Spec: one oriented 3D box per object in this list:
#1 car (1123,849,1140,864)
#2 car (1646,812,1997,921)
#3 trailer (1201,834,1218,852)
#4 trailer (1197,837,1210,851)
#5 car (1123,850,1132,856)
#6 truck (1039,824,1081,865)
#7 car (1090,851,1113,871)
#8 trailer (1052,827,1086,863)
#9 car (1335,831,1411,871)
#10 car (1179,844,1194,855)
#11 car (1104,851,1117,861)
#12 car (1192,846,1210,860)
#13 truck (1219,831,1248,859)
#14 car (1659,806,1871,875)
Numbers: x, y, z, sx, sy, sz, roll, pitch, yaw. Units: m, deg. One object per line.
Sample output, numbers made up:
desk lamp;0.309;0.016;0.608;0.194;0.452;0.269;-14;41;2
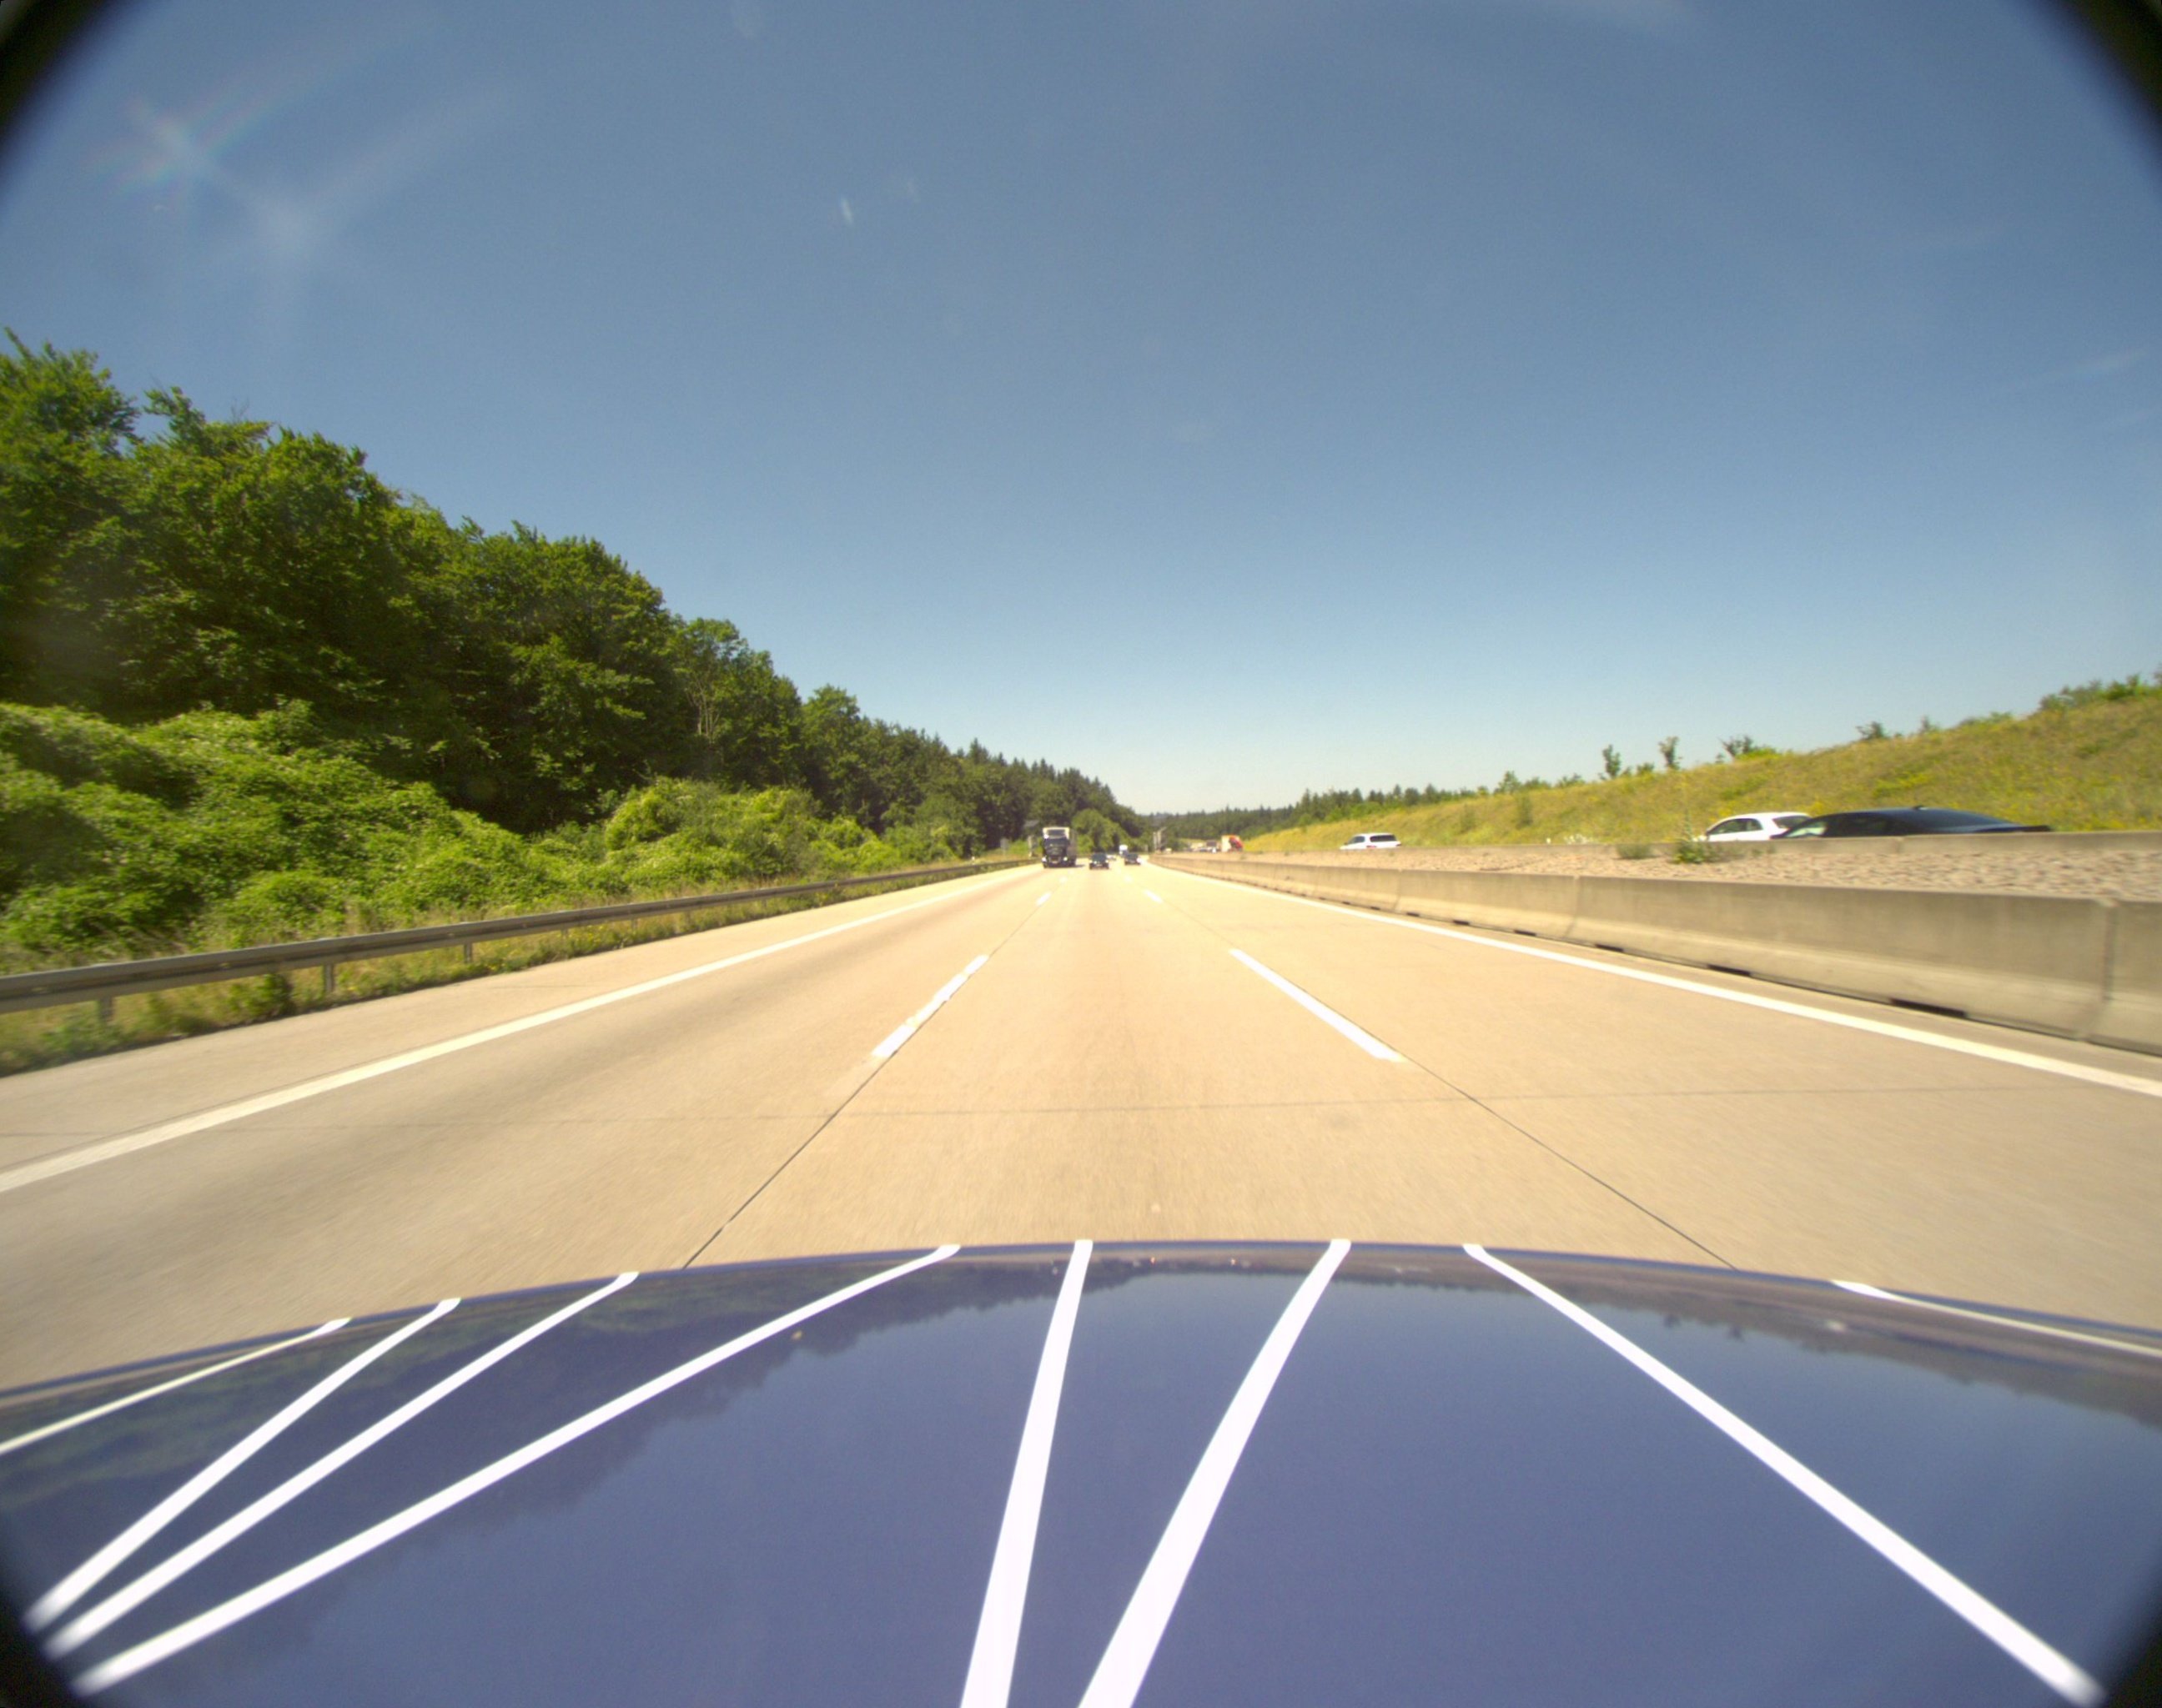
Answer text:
car;5.857;0.255;88.558;1.842;1.547;4.001;-3;0;3
car;12.844;0.178;13.708;1.998;1.574;4.463;-2;0;1
trailer;32.027;-2.650;190.213;2.940;4.144;13.192;-3;0;4
trailer;37.387;-3.075;232.036;2.939;4.144;14.393;-3;0;7
car;11.566;-0.283;189.397;1.841;1.547;4.002;-3;0;8
truck;-2.062;-0.979;79.475;3.166;3.993;10.610;-1;0;4
car;1.883;0.600;69.280;1.930;1.694;4.400;-3;0;2
trailer;-1.298;-1.054;89.312;3.141;3.993;9.090;-1;0;4
car;14.830;-0.167;38.924;1.998;1.862;4.968;-2;0;1
car;19.301;-0.811;139.104;1.998;2.002;4.460;0;0;0
car;5.111;0.325;132.513;1.998;1.694;4.401;-3;0;5
car;17.473;-0.178;110.820;1.998;2.002;4.460;0;0;0
truck;25.807;-1.496;129.073;2.921;4.487;11.259;-1;0;2
car;18.180;-0.342;20.522;1.998;1.574;4.180;-2;0;1
